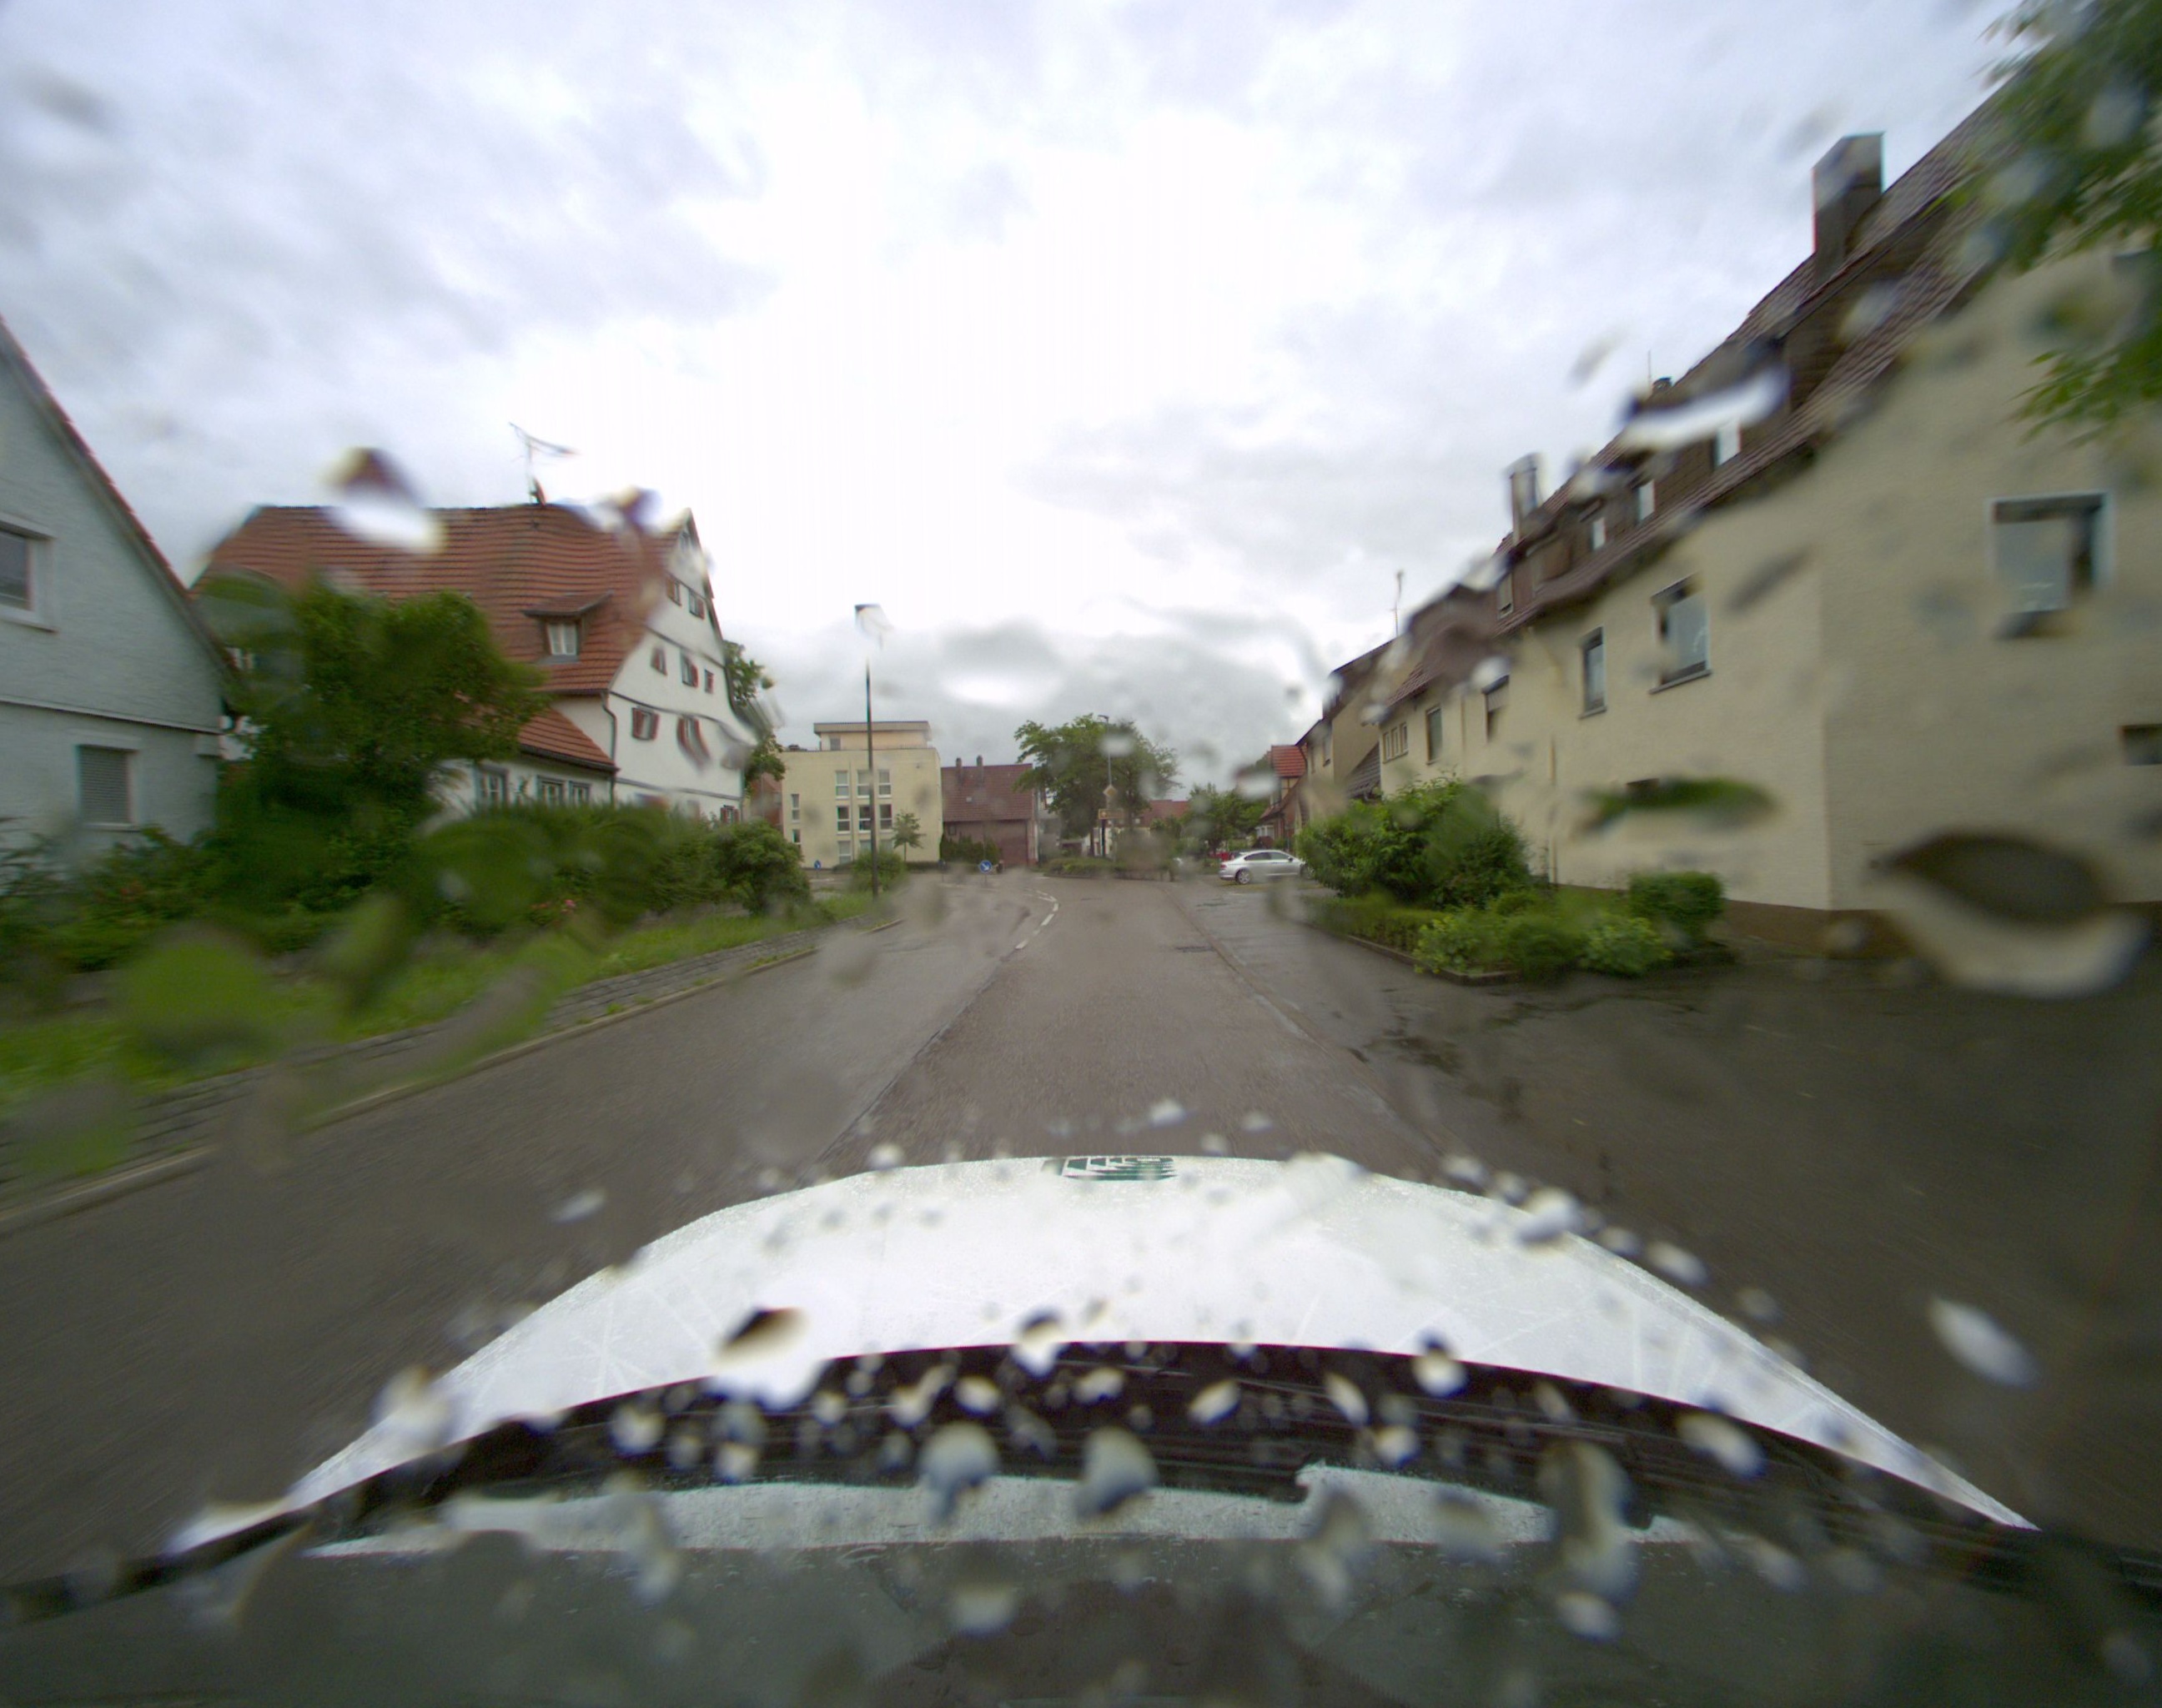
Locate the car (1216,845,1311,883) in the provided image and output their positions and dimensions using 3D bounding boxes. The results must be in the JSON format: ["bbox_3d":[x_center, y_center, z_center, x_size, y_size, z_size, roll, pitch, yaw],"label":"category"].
[{"bbox_3d":[8.099,0.443,36.214,3.927,1.408,2.007,-3,-1,12],"label":"car"}]

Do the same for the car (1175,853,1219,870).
[{"bbox_3d":[11.161,0.721,78.435,3.960,1.420,2.007,-2,0,12],"label":"car"}]

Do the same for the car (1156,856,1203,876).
[{"bbox_3d":[8.859,1.063,73.119,3.958,1.626,2.008,-2,0,14],"label":"car"}]

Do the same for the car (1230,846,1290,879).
[{"bbox_3d":[9.162,0.434,41.723,2.889,1.524,1.396,-2,0,14],"label":"car"}]
